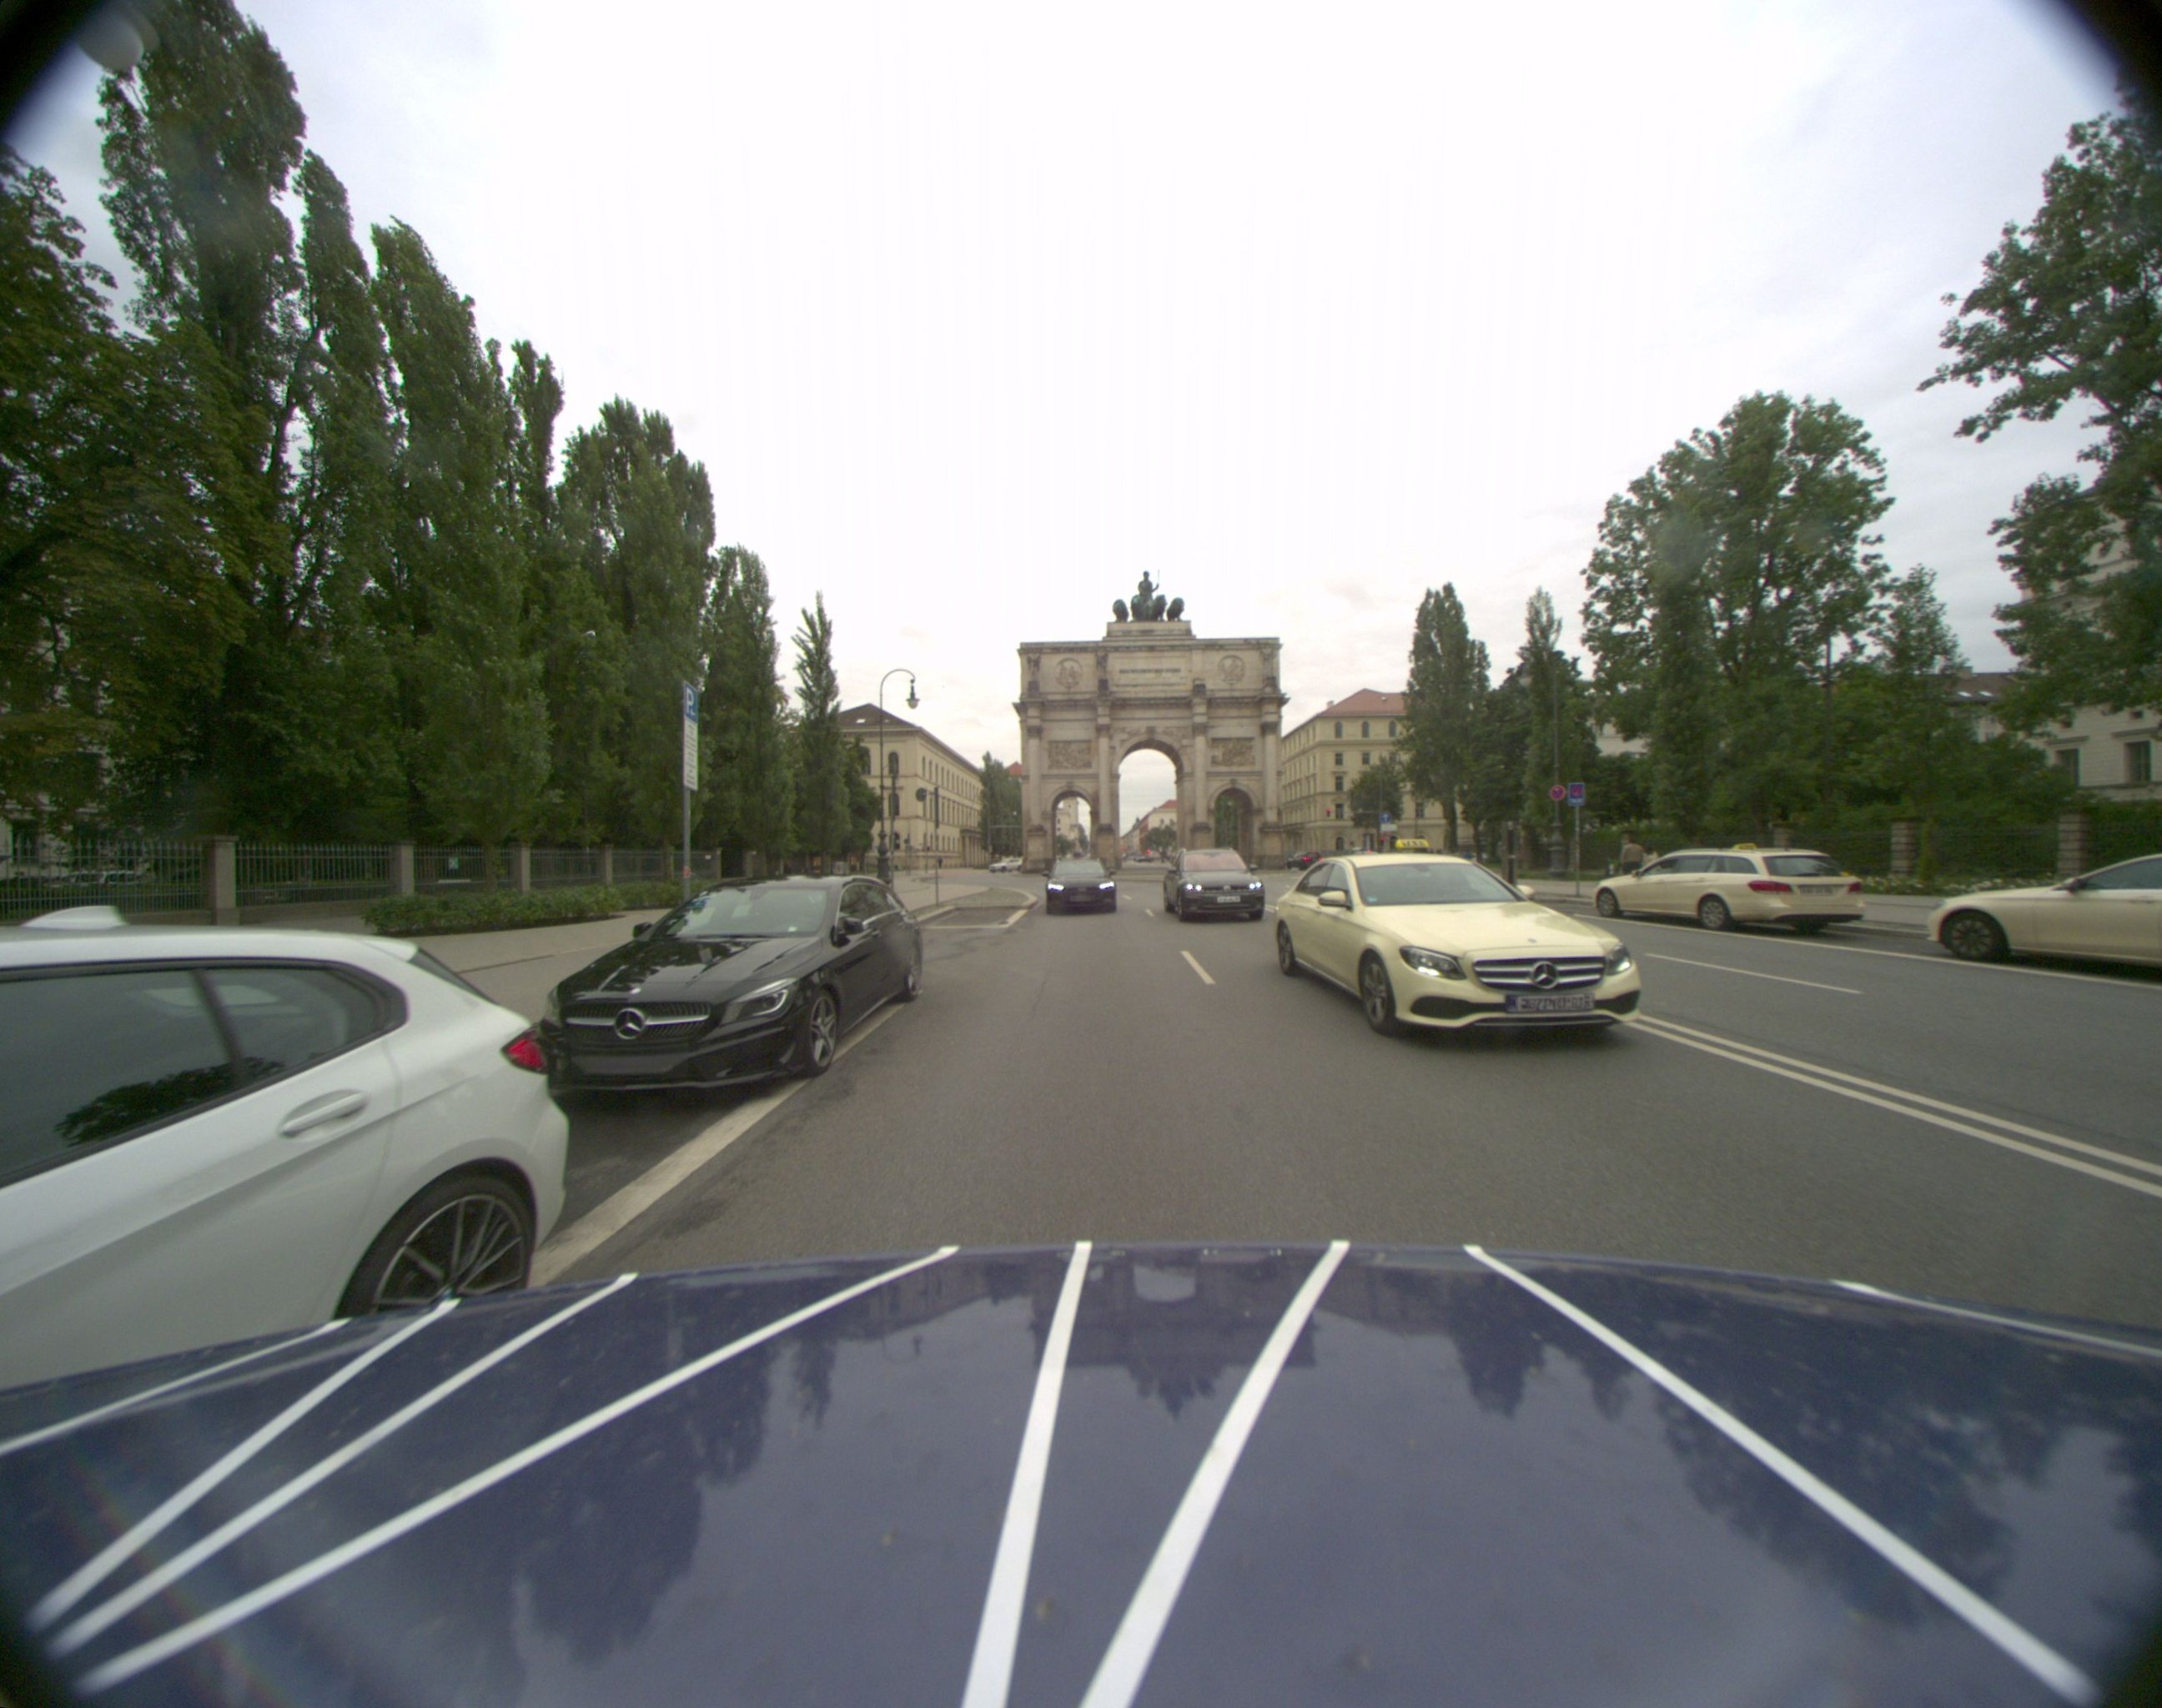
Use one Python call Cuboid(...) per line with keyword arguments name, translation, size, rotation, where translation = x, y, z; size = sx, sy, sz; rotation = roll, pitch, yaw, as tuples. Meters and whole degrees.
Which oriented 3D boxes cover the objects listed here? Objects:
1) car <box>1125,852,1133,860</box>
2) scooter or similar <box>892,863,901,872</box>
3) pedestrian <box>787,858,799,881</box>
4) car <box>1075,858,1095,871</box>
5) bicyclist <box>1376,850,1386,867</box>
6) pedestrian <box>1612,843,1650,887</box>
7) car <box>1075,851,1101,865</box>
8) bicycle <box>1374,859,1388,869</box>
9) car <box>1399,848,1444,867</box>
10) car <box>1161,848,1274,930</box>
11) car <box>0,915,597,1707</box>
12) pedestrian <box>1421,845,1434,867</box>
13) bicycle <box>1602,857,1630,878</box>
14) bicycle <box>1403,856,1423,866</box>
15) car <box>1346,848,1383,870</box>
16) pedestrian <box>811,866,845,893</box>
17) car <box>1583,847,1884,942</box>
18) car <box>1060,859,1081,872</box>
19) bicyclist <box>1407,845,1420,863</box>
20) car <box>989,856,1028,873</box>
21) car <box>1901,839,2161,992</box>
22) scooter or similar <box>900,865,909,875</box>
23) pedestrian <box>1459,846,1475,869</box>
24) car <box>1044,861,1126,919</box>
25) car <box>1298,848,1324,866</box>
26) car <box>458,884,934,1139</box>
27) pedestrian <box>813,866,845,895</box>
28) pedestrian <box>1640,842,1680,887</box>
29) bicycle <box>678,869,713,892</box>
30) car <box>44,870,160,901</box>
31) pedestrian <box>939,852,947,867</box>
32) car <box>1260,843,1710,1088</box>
Cuboid(name="car", translation=(12.357, 0.461, 196.260), size=(1.998, 2.002, 4.395), rotation=(-1, 0, 1))
Cuboid(name="scooter or similar", translation=(-23.101, 1.662, 95.081), size=(0.567, 1.134, 1.657), rotation=(-1, 0, 3))
Cuboid(name="pedestrian", translation=(-20.975, 1.140, 55.417), size=(0.591, 1.610, 0.536), rotation=(-2, 1, 2))
Cuboid(name="car", translation=(0.597, 1.538, 113.086), size=(1.785, 1.739, 4.326), rotation=(-1, 0, 18))
Cuboid(name="bicyclist", translation=(30.322, 0.441, 76.798), size=(0.643, 1.699, 0.860), rotation=(-1, 0, -5))
Cuboid(name="pedestrian", translation=(21.222, 0.431, 29.331), size=(0.846, 1.668, 0.967), rotation=(-1, 0, 8))
Cuboid(name="car", translation=(0.977, 0.536, 101.752), size=(1.784, 1.739, 4.328), rotation=(-1, 0, 24))
Cuboid(name="bicycle", translation=(30.324, 0.984, 76.795), size=(0.643, 0.967, 1.761), rotation=(-1, 0, -4))
Cuboid(name="car", translation=(37.126, 0.394, 82.989), size=(3.996, 2.002, 2.000), rotation=(-1, 0, 1))
Cuboid(name="car", translation=(3.073, 0.717, 18.049), size=(1.953, 1.615, 4.411), rotation=(-3, 0, 2))
Cuboid(name="car", translation=(-2.689, 0.965, 0.599), size=(1.792, 1.451, 4.218), rotation=(-2, 0, 1))
Cuboid(name="pedestrian", translation=(32.394, 0.187, 71.087), size=(0.796, 2.002, 0.754), rotation=(-1, 0, -33))
Cuboid(name="bicycle", translation=(26.970, 0.673, 38.301), size=(1.742, 1.058, 0.635), rotation=(-1, 0, -36))
Cuboid(name="bicycle", translation=(31.446, 0.684, 71.915), size=(0.644, 0.967, 1.758), rotation=(-1, 0, -24))
Cuboid(name="car", translation=(24.947, 0.401, 67.047), size=(2.003, 1.844, 4.992), rotation=(0, 1, 7))
Cuboid(name="pedestrian", translation=(-12.015, 1.191, 36.057), size=(1.372, 1.200, 0.806), rotation=(-2, 1, -27))
Cuboid(name="car", translation=(12.393, 0.656, 15.000), size=(1.823, 1.550, 4.859), rotation=(1, 1, 1))
Cuboid(name="car", translation=(-1.458, 1.567, 107.512), size=(1.785, 1.739, 4.326), rotation=(-1, 0, 18))
Cuboid(name="bicyclist", translation=(31.459, 0.004, 71.841), size=(0.644, 1.699, 0.858), rotation=(-1, 0, -23))
Cuboid(name="car", translation=(-8.321, 1.174, 87.665), size=(1.886, 1.846, 4.321), rotation=(-1, 0, 44))
Cuboid(name="car", translation=(12.361, 0.639, 8.104), size=(1.942, 1.615, 4.965), rotation=(0, 1, 1))
Cuboid(name="scooter or similar", translation=(-22.107, 1.983, 95.087), size=(0.567, 1.134, 1.657), rotation=(-1, 0, 3))
Cuboid(name="pedestrian", translation=(30.642, 0.278, 60.318), size=(0.917, 1.775, 0.752), rotation=(-1, 0, -34))
Cuboid(name="car", translation=(0.006, 0.922, 21.430), size=(1.923, 1.320, 4.409), rotation=(-3, 0, -4))
Cuboid(name="car", translation=(21.879, 0.312, 72.304), size=(1.784, 1.662, 4.003), rotation=(-1, 0, 9))
Cuboid(name="car", translation=(-2.664, 1.008, 6.594), size=(1.739, 1.302, 4.371), rotation=(-1, 0, 2))
Cuboid(name="pedestrian", translation=(-11.583, 1.195, 34.941), size=(1.331, 1.267, 0.807), rotation=(-2, 1, -21))
Cuboid(name="pedestrian", translation=(22.040, 0.407, 28.953), size=(0.846, 1.668, 0.967), rotation=(-1, 0, 8))
Cuboid(name="bicycle", translation=(-22.118, 1.473, 43.623), size=(0.674, 1.232, 2.998), rotation=(0, 0, -4))
Cuboid(name="car", translation=(-56.291, 1.796, 43.735), size=(4.464, 1.565, 2.001), rotation=(-2, 0, 6))
Cuboid(name="pedestrian", translation=(-19.323, 0.747, 106.474), size=(0.944, 2.002, 1.003), rotation=(-1, 0, 3))
Cuboid(name="car", translation=(3.273, 0.743, 7.460), size=(1.919, 1.566, 4.689), rotation=(-3, 0, 1))
